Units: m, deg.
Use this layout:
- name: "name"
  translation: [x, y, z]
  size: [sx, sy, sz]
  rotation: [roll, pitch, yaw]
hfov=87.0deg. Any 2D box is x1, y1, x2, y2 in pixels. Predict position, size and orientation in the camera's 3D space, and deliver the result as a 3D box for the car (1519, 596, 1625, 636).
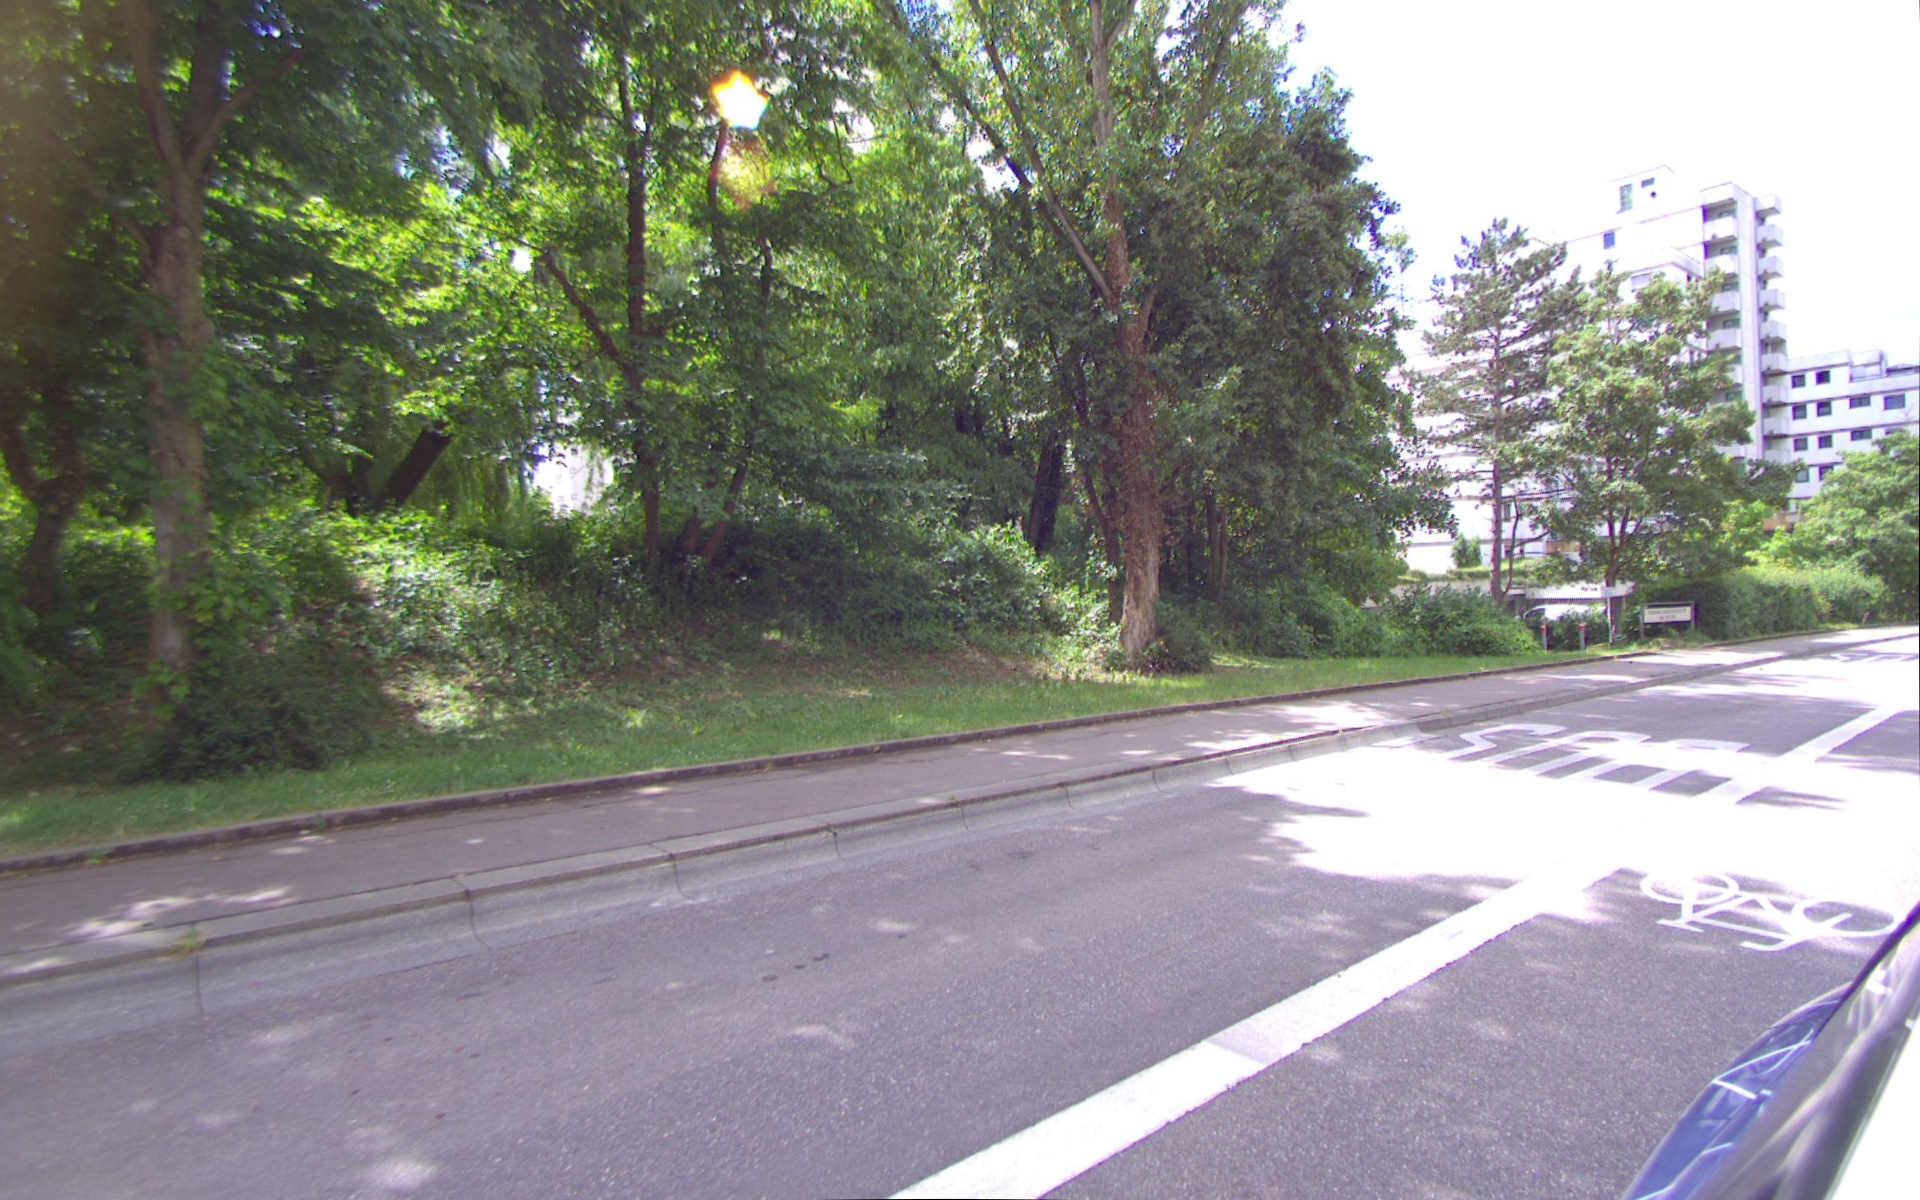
- name: "car"
  translation: [33.411, 0.829, 55.359]
  size: [1.962, 2.039, 4.550]
  rotation: [-1, 0, -34]
